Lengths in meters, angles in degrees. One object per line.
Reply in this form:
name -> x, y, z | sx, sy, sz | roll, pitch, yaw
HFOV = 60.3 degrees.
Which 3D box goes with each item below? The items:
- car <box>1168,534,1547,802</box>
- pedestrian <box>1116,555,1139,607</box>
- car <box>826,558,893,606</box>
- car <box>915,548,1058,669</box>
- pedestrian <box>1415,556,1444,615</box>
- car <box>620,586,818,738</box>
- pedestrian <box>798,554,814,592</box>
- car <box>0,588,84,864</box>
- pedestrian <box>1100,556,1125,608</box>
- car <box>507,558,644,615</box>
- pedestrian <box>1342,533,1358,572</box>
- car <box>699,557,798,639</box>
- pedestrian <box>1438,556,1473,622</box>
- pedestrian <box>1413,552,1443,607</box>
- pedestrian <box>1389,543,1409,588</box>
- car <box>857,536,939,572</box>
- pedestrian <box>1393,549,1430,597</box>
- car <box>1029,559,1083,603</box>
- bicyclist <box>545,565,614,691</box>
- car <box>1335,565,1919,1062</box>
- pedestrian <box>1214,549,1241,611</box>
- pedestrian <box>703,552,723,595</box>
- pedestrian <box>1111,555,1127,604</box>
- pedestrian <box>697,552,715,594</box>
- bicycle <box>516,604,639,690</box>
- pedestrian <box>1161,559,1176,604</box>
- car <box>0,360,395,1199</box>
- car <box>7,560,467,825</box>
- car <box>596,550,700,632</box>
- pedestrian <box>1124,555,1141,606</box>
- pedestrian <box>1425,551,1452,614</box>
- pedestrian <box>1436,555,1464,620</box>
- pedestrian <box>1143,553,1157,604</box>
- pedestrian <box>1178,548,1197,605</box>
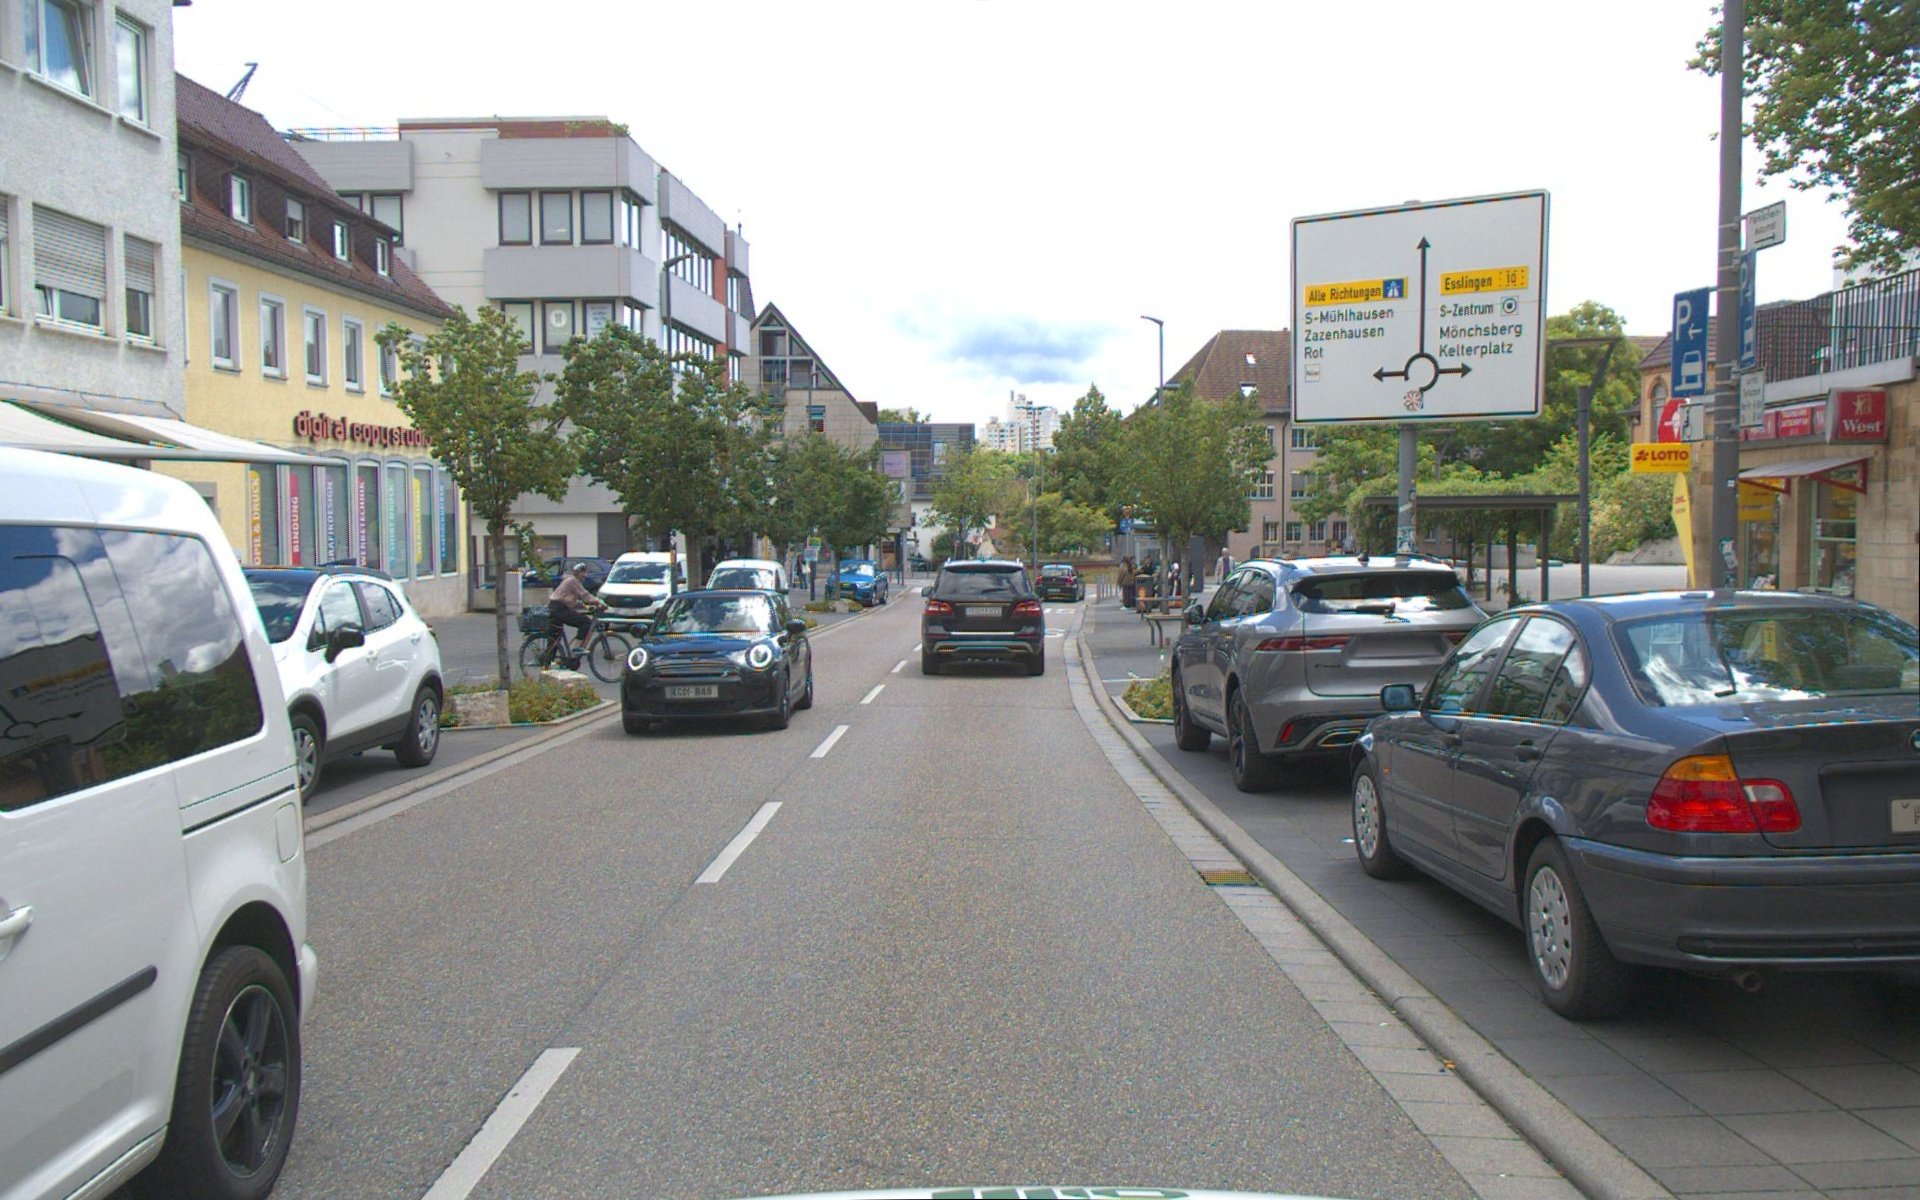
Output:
car -> 2.927, 0.412, 13.255 | 1.889, 1.754, 4.573 | -1, 1, -1
pedestrian -> 5.072, -0.581, 50.140 | 0.503, 1.576, 0.486 | -1, 1, 30
car -> -3.630, -0.679, 60.506 | 1.658, 1.627, 4.335 | 2, 2, 6
car -> 0.327, 0.141, 26.598 | 1.987, 1.757, 4.430 | 1, 0, -3
pedestrian -> 10.398, -0.325, 36.645 | 0.556, 1.283, 0.542 | -1, 4, 8
car -> -2.503, 0.589, 17.950 | 1.574, 1.412, 3.629 | -2, 1, 0
pedestrian -> -6.575, -1.140, 70.598 | 0.574, 1.615, 0.639 | 1, 1, 5
car -> -5.906, 0.671, 7.546 | 1.804, 1.476, 4.509 | 1, 0, -6
pedestrian -> 4.665, -0.554, 50.641 | 0.482, 1.576, 0.535 | -3, 2, -42
car -> -10.902, -0.389, 47.088 | 3.555, 1.585, 1.668 | 0, 1, -3
pedestrian -> 15.301, -1.872, 64.839 | 0.492, 1.534, 0.454 | -1, 2, -4
car -> -4.688, -0.093, 37.160 | 1.622, 1.701, 4.351 | 1, 1, 0
pedestrian -> 10.354, -0.234, 34.565 | 0.603, 1.343, 0.586 | -1, 4, 7
pedestrian -> 11.653, -0.515, 41.188 | 0.610, 1.330, 0.546 | -1, 2, 8
pedestrian -> 13.039, -1.029, 49.147 | 0.555, 1.346, 0.546 | 0, 2, 13
car -> -4.920, -3.655, 132.005 | 6.185, 2.605, 2.196 | 1, -1, -18
pedestrian -> 12.344, -0.750, 45.190 | 0.757, 1.291, 0.672 | 2, 2, 42
car -> 3.840, -0.793, 65.880 | 2.009, 1.615, 4.376 | 2, 2, 4
bicyclist -> -5.354, 0.381, 23.287 | 0.769, 1.724, 0.504 | -2, 1, -36
car -> 2.895, 0.643, 7.023 | 1.646, 1.441, 4.371 | -1, -1, 1
pedestrian -> 7.541, -0.573, 46.533 | 0.670, 1.711, 0.715 | -1, 1, 15
pedestrian -> -9.419, -1.008, 63.045 | 0.577, 1.593, 0.640 | -2, 1, -23
pedestrian -> 5.382, -0.691, 55.983 | 0.378, 1.648, 0.469 | -2, 1, 15
pedestrian -> -9.782, -1.034, 63.697 | 0.499, 1.593, 0.587 | -2, 1, 5
bicycle -> -5.360, 0.649, 23.246 | 1.636, 1.106, 0.408 | -3, 1, -37
pedestrian -> 6.331, -0.559, 50.139 | 0.381, 1.328, 0.355 | -2, 1, 6
car -> -2.470, 0.541, 2.539 | 1.711, 1.834, 4.212 | -2, 0, 0
car -> -5.267, 0.563, 12.705 | 1.631, 1.675, 4.134 | 1, 1, 1
car -> -7.438, -0.256, 39.852 | 1.721, 1.845, 4.476 | 1, 1, -1
pedestrian -> 5.505, -0.623, 52.672 | 0.489, 1.593, 0.498 | -1, 1, 9
pedestrian -> 10.391, -0.381, 35.899 | 0.487, 1.343, 0.525 | -1, 4, 8
pedestrian -> 10.441, -0.262, 35.234 | 0.484, 1.343, 0.576 | -1, 4, 7
pedestrian -> 6.051, -0.692, 52.673 | 0.385, 1.593, 0.352 | -1, 1, 9
pedestrian -> 6.878, -0.723, 50.068 | 0.500, 1.709, 0.577 | -1, 1, 4
